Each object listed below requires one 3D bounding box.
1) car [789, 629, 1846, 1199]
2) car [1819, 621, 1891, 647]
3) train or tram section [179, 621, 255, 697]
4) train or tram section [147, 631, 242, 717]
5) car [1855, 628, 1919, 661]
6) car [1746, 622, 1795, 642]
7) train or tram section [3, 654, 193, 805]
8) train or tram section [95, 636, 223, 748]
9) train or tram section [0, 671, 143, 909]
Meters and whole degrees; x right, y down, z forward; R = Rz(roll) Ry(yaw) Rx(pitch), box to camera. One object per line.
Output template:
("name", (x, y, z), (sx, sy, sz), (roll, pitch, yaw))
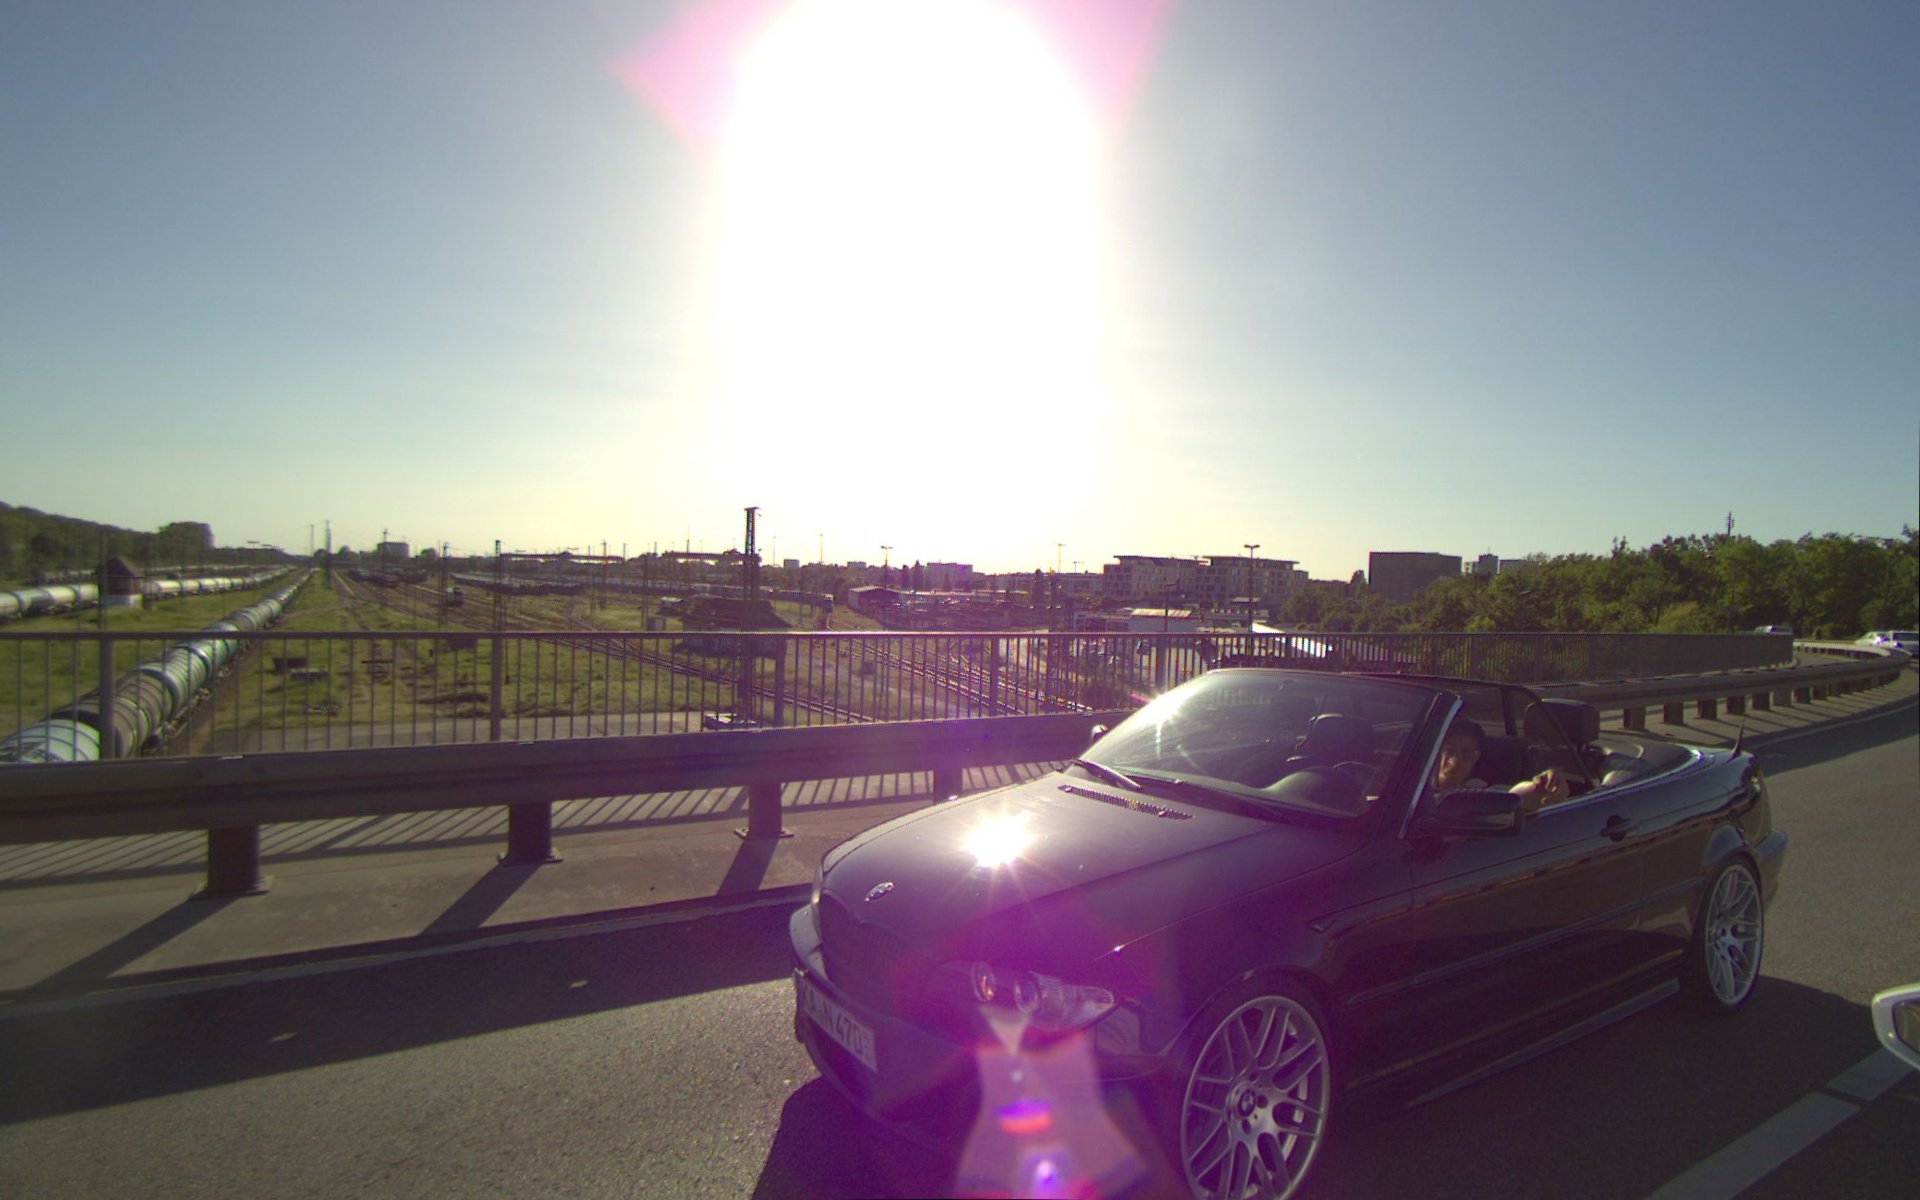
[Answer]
("car", (1.602, 0.825, 3.901), (4.137, 1.373, 1.735), (1, -1, -33))
("car", (58.684, 2.229, 65.957), (1.827, 1.606, 3.917), (1, -1, 12))
("train or tram section", (-62.964, 4.764, 85.549), (3.863, 5.592, 16.359), (1, -1, -32))
("train or tram section", (-54.294, 4.971, 71.725), (3.863, 5.083, 16.222), (1, -1, -32))
("car", (45.861, 2.152, 49.204), (1.807, 1.539, 3.768), (1, -1, 22))
("car", (66.232, 2.592, 82.114), (1.805, 1.576, 3.894), (1, -1, 18))
("train or tram section", (-36.991, 5.076, 43.963), (3.863, 4.652, 16.168), (1, -1, -32))
("train or tram section", (-45.620, 4.833, 57.847), (3.863, 5.083, 16.520), (1, -1, -32))
("train or tram section", (-28.254, 4.970, 30.036), (3.863, 4.652, 16.621), (1, -1, -32))
